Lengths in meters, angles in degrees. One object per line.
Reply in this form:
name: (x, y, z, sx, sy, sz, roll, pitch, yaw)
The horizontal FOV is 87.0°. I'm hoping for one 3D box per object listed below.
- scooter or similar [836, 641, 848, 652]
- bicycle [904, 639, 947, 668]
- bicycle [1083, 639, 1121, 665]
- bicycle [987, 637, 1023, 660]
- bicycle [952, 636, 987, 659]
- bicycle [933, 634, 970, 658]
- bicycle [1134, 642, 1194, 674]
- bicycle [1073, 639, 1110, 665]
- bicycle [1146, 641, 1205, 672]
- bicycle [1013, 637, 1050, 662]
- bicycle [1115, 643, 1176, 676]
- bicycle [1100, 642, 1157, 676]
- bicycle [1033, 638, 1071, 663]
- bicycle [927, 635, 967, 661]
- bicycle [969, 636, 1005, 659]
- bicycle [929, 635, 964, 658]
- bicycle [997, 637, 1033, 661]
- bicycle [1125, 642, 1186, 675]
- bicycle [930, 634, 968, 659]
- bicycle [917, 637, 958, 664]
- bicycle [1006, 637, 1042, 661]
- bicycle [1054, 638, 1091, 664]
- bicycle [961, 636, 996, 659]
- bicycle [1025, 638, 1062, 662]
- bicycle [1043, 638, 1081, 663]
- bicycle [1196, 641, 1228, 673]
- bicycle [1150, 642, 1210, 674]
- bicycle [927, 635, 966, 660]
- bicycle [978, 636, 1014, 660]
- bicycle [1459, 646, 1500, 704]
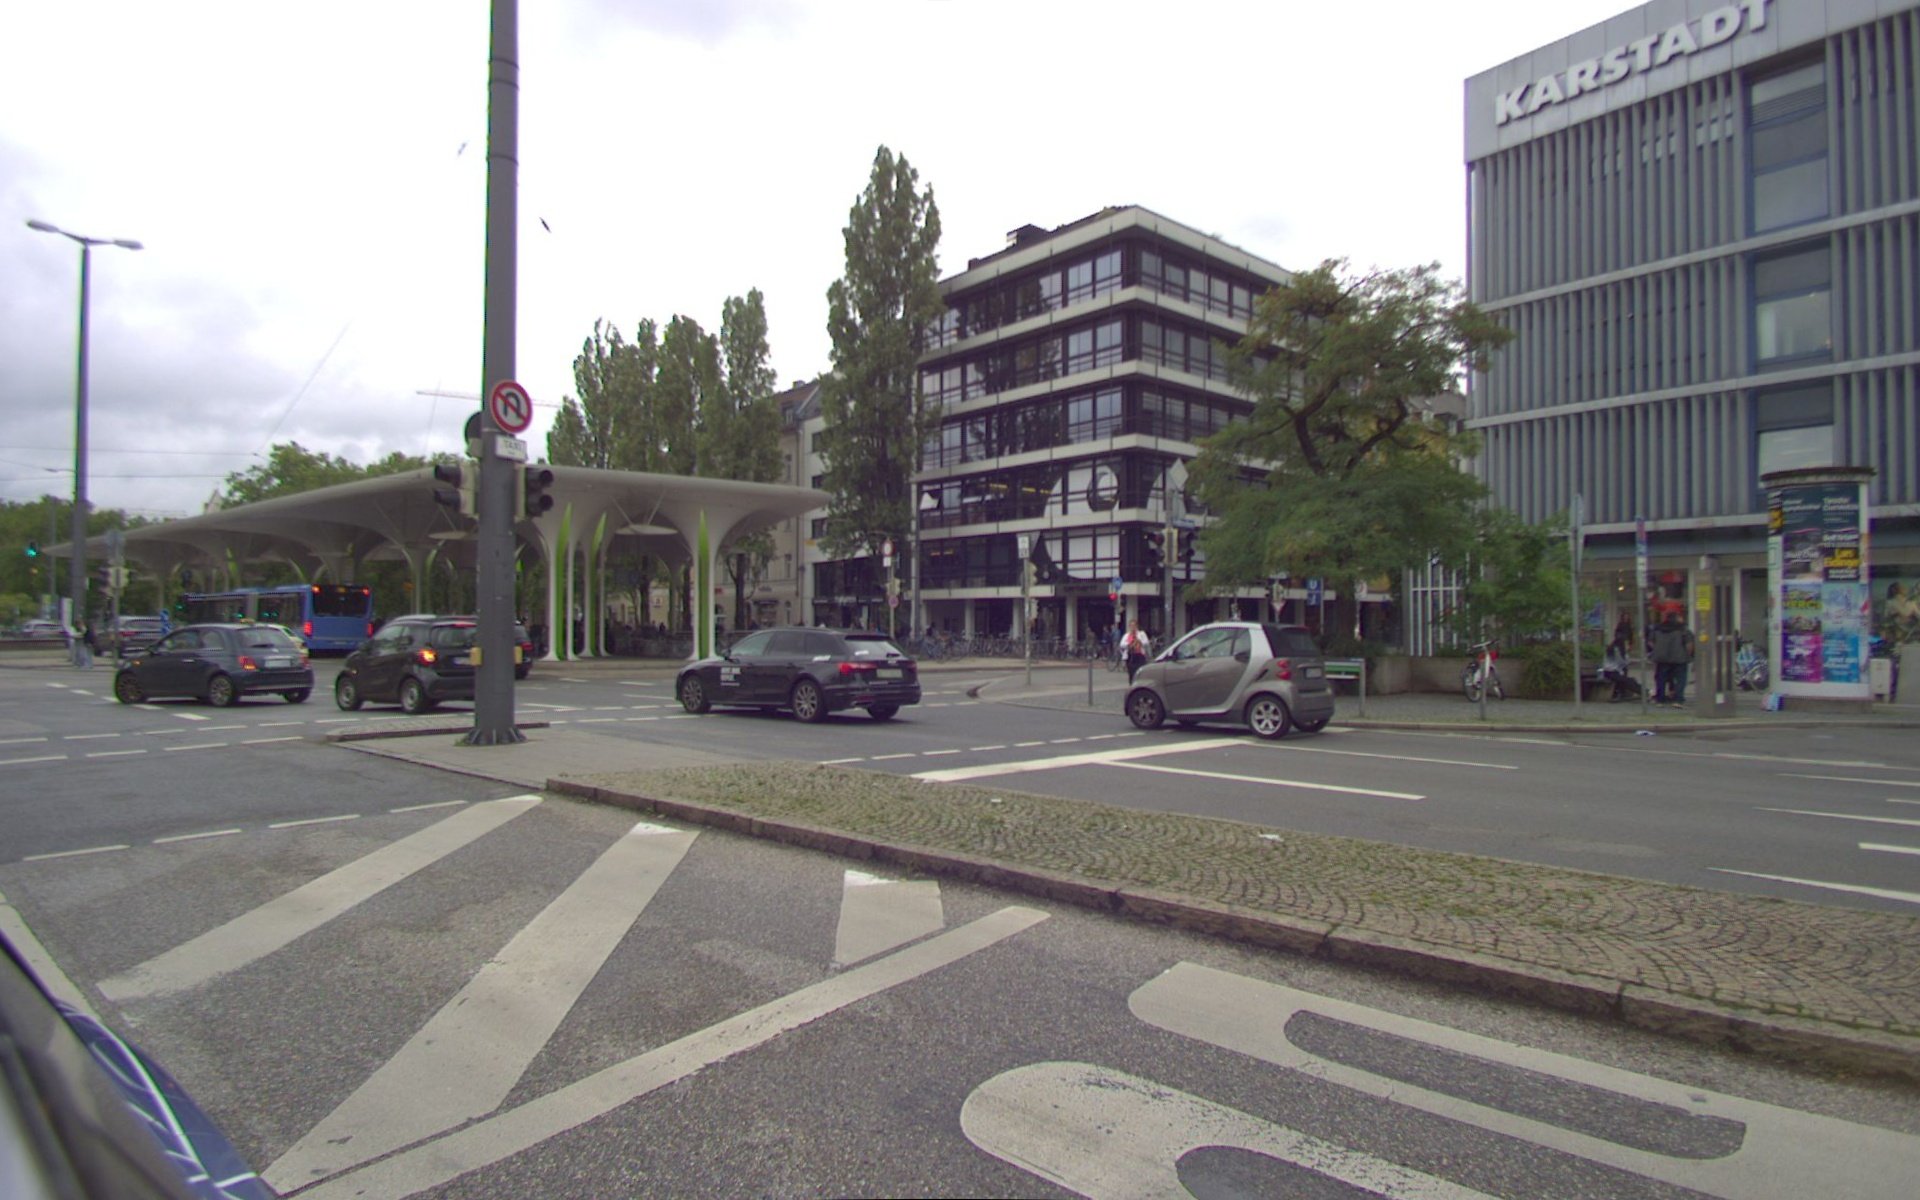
scooter or similar: (-7.680, 3.009, 65.728, 0.511, 0.720, 0.681, 1, -2, -39)
bicycle: (-1.350, 2.078, 39.637, 1.660, 1.106, 0.470, -1, -2, 16)
bicycle: (6.434, 2.349, 45.857, 2.044, 1.142, 0.561, 2, -2, -45)
bicycle: (2.229, 2.394, 50.275, 2.044, 1.142, 0.561, 2, -2, -45)
bicycle: (0.492, 2.412, 51.968, 2.044, 1.142, 0.561, 2, -2, -45)
bicycle: (-0.376, 2.104, 46.254, 1.655, 1.106, 0.472, 0, -2, 7)
bicycle: (6.619, 1.863, 32.904, 1.924, 1.006, 0.503, -2, -2, 41)
bicycle: (6.021, 2.354, 46.234, 2.044, 1.142, 0.561, 2, -2, -45)
bicycle: (7.248, 1.901, 34.073, 1.924, 1.006, 0.503, -2, -2, 41)
bicycle: (3.464, 2.381, 48.835, 2.044, 1.142, 0.561, 2, -2, -45)
bicycle: (5.854, 1.874, 32.002, 1.924, 1.006, 0.503, -2, -2, 41)
bicycle: (5.259, 1.837, 31.669, 1.750, 1.006, 0.503, -2, -2, 41)
bicycle: (4.359, 2.371, 47.871, 2.044, 1.142, 0.561, 2, -2, -45)
bicycle: (-0.563, 2.063, 43.326, 1.660, 1.106, 0.470, -1, -2, 16)
bicycle: (1.377, 2.403, 51.107, 2.044, 1.142, 0.561, 2, -2, -45)
bicycle: (-0.692, 2.425, 53.010, 2.044, 1.142, 0.561, 2, -2, -45)
bicycle: (2.703, 2.389, 49.801, 2.044, 1.142, 0.561, 2, -2, -45)
bicycle: (6.234, 1.868, 32.409, 1.924, 1.006, 0.503, -2, -2, 41)
bicycle: (-0.484, 2.060, 44.986, 1.655, 1.106, 0.472, 0, -2, 7)
bicycle: (-0.941, 2.070, 41.968, 1.660, 1.106, 0.470, -1, -2, 16)
bicycle: (3.122, 2.384, 49.347, 2.044, 1.142, 0.561, 2, -2, -45)
bicycle: (5.222, 2.362, 47.008, 2.044, 1.142, 0.561, 2, -2, -45)
bicycle: (0.948, 2.407, 51.549, 2.044, 1.142, 0.561, 2, -2, -45)
bicycle: (3.979, 2.375, 48.345, 2.044, 1.142, 0.561, 2, -2, -45)
bicycle: (4.786, 2.367, 47.444, 2.044, 1.142, 0.561, 2, -2, -45)
bicycle: (8.385, 1.888, 33.722, 0.503, 1.006, 1.926, 0, -2, -3)
bicycle: (7.197, 1.903, 33.186, 1.924, 1.006, 0.503, -2, -2, 41)
bicycle: (-0.585, 2.063, 44.042, 1.660, 1.106, 0.470, -1, -2, 16)
bicycle: (1.813, 2.398, 50.686, 2.044, 1.142, 0.561, 2, -2, -45)
bicycle: (9.707, 1.381, 18.894, 0.419, 1.024, 1.282, -2, -3, 38)
